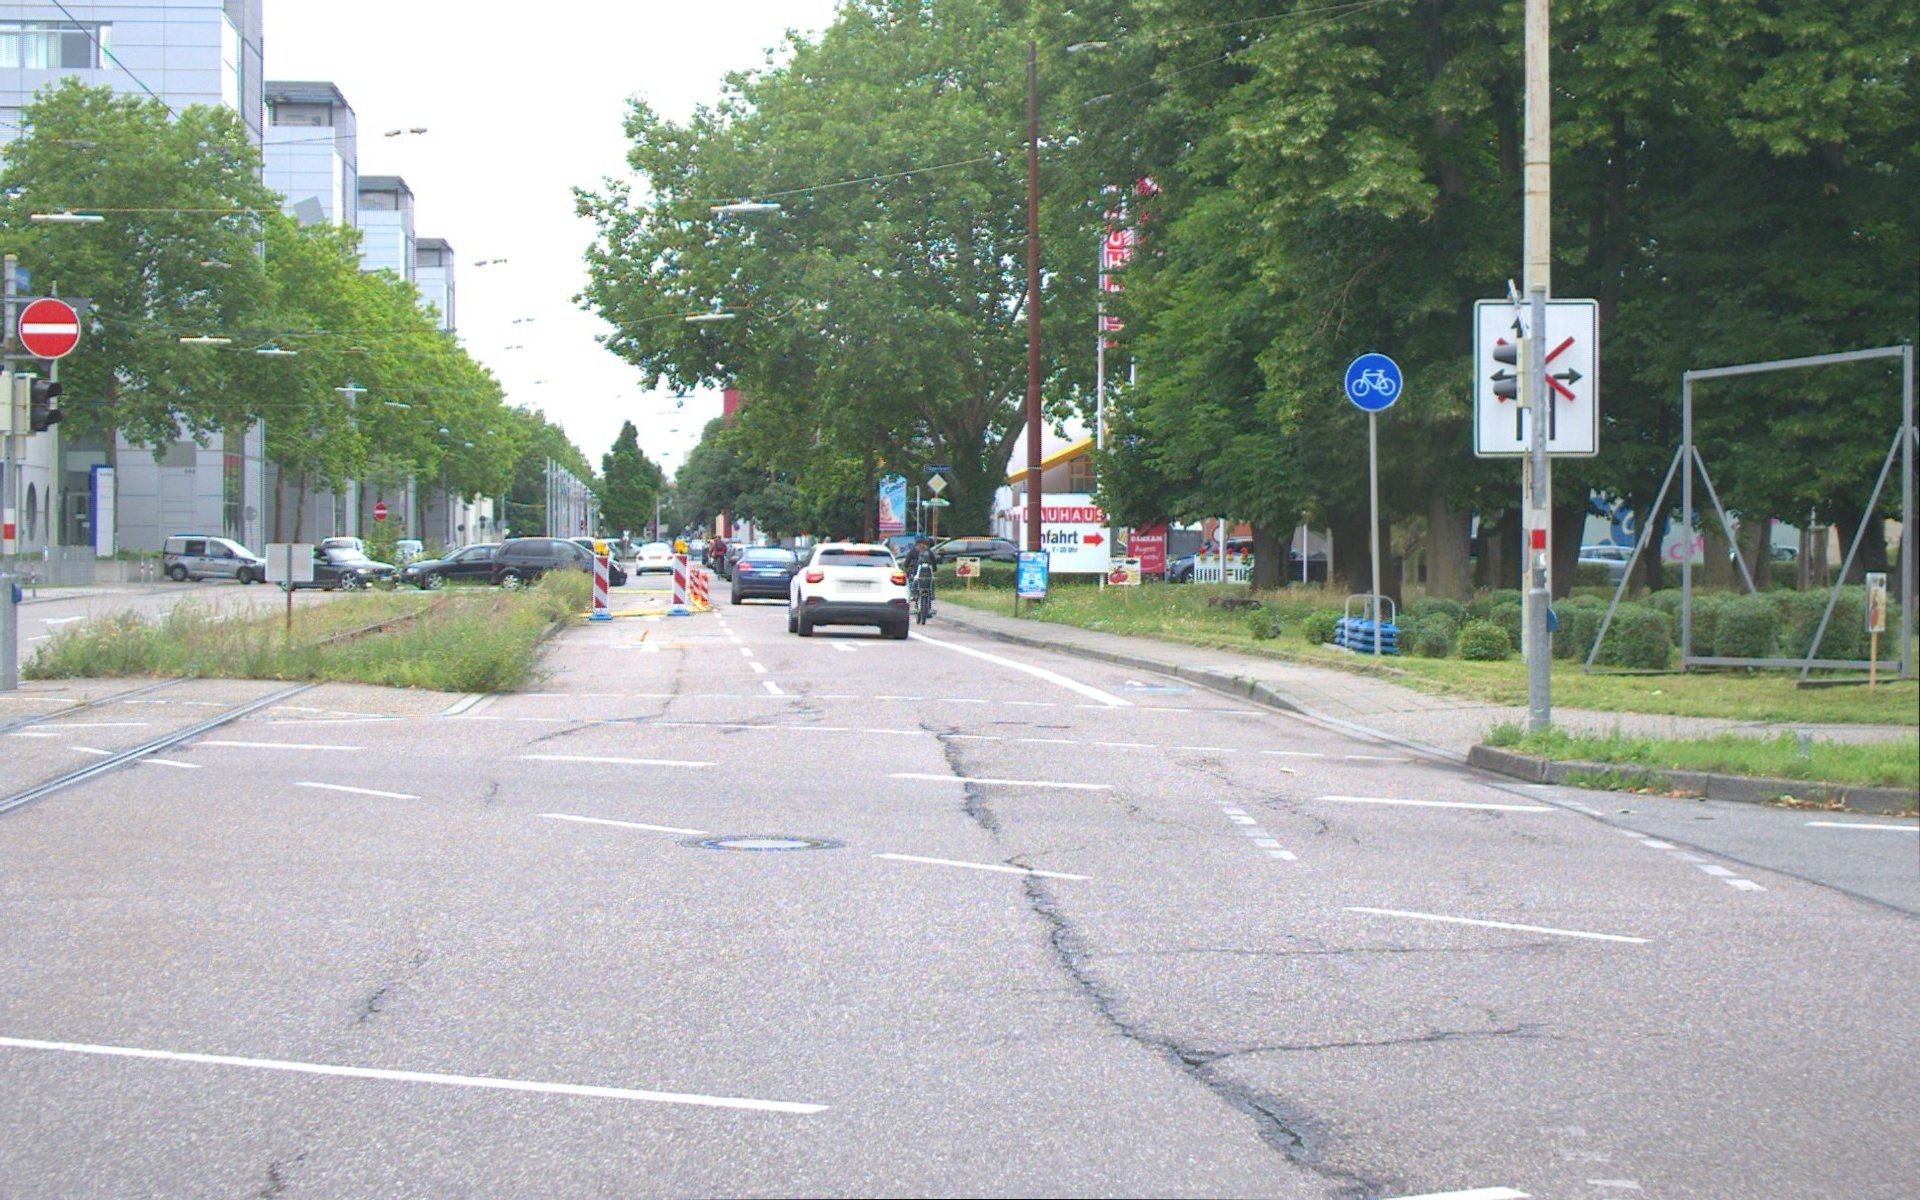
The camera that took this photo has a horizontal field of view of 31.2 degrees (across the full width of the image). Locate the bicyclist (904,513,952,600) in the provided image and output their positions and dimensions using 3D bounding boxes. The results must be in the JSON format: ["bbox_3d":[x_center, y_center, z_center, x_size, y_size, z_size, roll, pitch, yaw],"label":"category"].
[{"bbox_3d":[-0.607,-0.830,65.115,0.816,1.624,1.235,0,1,-5],"label":"bicyclist"}]

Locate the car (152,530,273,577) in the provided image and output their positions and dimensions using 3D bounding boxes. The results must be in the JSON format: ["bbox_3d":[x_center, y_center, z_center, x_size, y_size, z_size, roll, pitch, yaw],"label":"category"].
[{"bbox_3d":[-28.743,-1.801,132.315,4.411,1.777,1.826,0,1,-7],"label":"car"}]

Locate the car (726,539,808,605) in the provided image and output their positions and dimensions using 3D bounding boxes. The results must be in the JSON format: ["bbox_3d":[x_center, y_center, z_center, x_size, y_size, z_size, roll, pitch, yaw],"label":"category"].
[{"bbox_3d":[-4.768,-0.707,84.589,1.683,1.508,3.707,1,1,-8],"label":"car"}]

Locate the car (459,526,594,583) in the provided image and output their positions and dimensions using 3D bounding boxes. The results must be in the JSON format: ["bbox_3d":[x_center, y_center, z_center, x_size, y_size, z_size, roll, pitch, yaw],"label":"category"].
[{"bbox_3d":[-12.888,-1.354,102.471,3.882,1.550,1.826,2,0,-5],"label":"car"}]

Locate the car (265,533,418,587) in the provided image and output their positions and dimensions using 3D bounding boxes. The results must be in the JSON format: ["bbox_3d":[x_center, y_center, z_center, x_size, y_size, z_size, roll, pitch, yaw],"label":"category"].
[{"bbox_3d":[-18.283,-1.163,101.641,4.122,1.470,1.823,-1,-1,25],"label":"car"}]

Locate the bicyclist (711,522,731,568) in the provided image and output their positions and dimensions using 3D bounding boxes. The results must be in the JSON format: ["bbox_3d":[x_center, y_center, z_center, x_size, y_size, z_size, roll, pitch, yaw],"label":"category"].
[{"bbox_3d":[-9.556,-2.204,137.475,0.670,1.809,0.760,1,1,-8],"label":"bicyclist"}]

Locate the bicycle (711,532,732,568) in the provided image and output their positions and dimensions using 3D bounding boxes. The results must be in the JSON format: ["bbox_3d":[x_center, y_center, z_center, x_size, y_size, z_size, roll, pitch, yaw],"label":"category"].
[{"bbox_3d":[-9.543,-1.994,137.337,0.670,1.389,2.167,1,1,-8],"label":"bicycle"}]

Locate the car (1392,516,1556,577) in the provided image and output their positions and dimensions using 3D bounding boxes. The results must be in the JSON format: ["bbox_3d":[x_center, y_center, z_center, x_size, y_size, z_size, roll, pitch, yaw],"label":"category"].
[{"bbox_3d":[15.650,-1.640,104.809,4.552,1.784,2.074,0,2,-5],"label":"car"}]

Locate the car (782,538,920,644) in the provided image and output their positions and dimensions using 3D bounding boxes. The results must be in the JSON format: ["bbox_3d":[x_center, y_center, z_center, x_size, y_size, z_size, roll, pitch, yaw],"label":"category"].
[{"bbox_3d":[-1.818,-0.180,56.039,1.823,1.595,3.777,1,1,-8],"label":"car"}]

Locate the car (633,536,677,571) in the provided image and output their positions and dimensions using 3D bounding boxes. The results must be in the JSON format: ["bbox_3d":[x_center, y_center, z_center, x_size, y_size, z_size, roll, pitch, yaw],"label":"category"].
[{"bbox_3d":[-14.078,-2.142,158.679,1.795,1.508,3.707,1,1,-8],"label":"car"}]

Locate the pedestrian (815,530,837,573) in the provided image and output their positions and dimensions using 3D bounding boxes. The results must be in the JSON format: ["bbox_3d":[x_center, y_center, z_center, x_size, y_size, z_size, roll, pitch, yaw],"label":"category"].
[{"bbox_3d":[-5.378,-1.960,138.124,0.760,1.699,0.682,-1,1,-10],"label":"pedestrian"}]

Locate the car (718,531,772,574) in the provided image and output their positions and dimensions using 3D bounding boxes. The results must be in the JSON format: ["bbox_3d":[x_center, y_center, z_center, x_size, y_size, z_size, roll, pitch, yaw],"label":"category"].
[{"bbox_3d":[-8.319,-1.852,132.713,1.876,1.627,4.001,-1,1,-6],"label":"car"}]

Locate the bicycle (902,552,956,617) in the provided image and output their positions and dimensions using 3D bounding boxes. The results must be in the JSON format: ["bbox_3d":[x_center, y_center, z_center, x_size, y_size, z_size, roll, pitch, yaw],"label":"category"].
[{"bbox_3d":[-0.602,-0.307,65.126,0.816,1.208,2.684,0,1,-5],"label":"bicycle"}]
